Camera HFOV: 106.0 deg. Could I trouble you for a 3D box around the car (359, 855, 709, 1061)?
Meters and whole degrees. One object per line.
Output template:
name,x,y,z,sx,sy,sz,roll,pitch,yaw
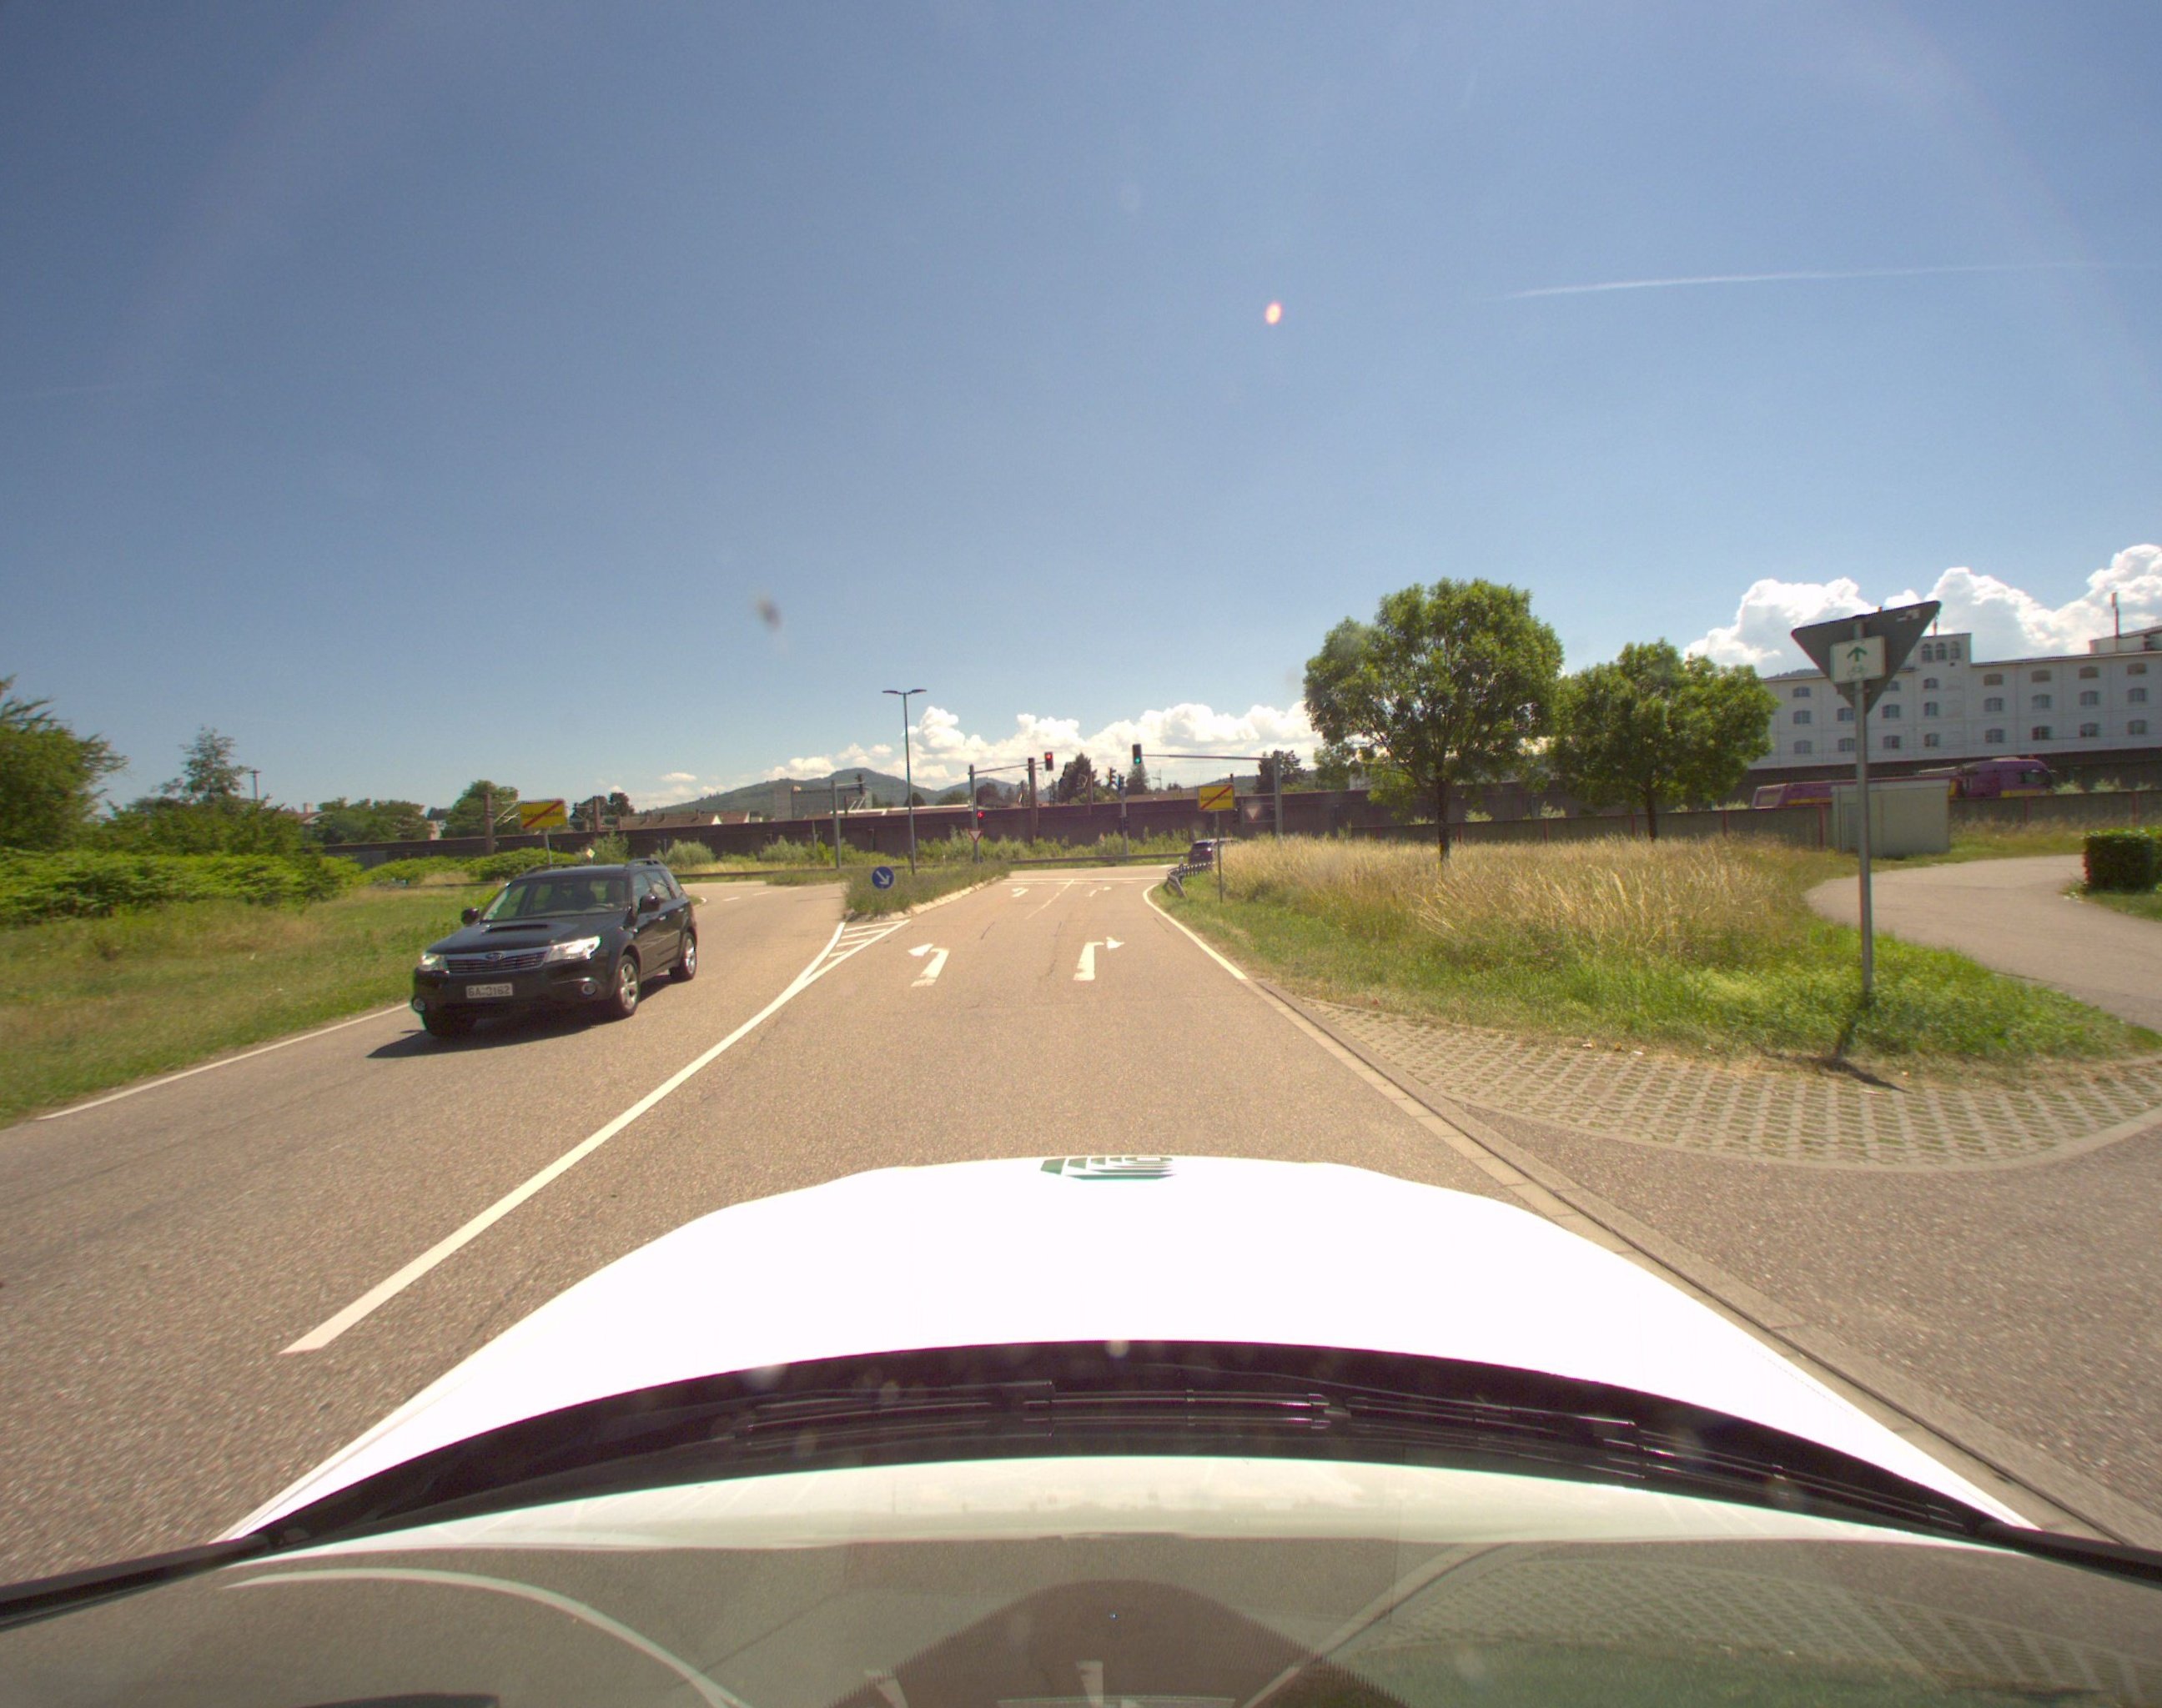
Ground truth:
car,-5.855,0.930,9.418,1.903,1.702,3.984,-3,1,-12

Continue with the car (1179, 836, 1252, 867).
car,7.184,-0.155,43.249,1.974,1.503,4.025,0,2,41

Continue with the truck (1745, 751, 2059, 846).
truck,41.433,-2.711,41.548,11.698,4.180,3.014,-2,0,9

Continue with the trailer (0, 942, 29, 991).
trailer,-18.028,1.891,12.417,1.572,0.738,2.822,-2,0,-33
